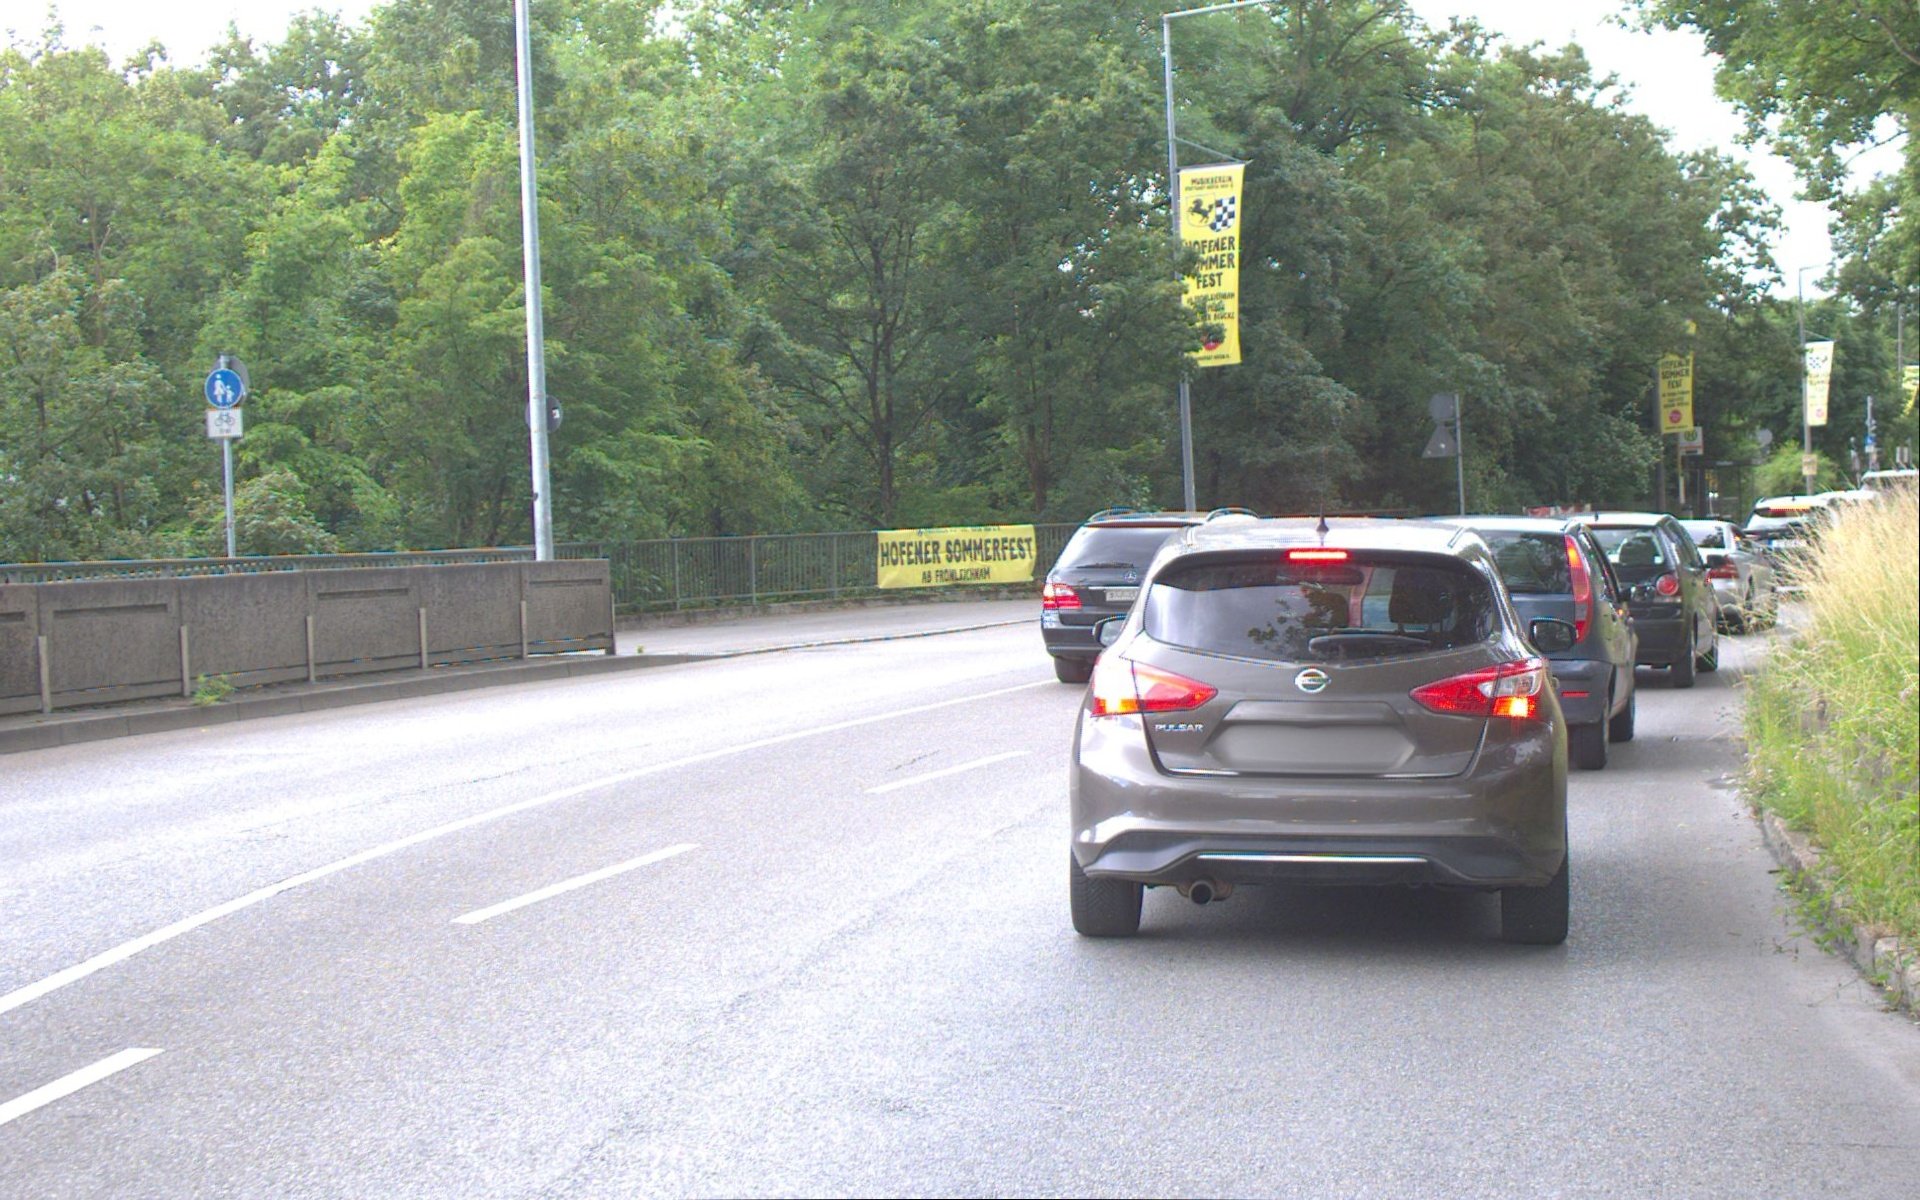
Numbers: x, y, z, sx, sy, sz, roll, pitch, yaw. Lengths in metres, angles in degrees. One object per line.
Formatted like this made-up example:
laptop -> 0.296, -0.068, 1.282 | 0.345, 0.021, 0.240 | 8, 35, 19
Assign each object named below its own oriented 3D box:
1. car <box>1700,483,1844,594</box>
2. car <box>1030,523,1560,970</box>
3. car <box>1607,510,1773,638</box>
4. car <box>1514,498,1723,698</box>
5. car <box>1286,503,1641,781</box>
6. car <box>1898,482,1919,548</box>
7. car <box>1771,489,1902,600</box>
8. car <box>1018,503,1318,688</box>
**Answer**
car -> 11.770, -0.886, 49.677 | 1.806, 1.535, 3.997 | 0, 1, 16
car -> 1.416, 0.466, 13.550 | 1.775, 1.489, 3.999 | 0, 1, 9
car -> 8.472, -0.322, 39.717 | 1.501, 1.359, 3.584 | -2, 1, 17
car -> 5.601, -0.044, 29.169 | 1.578, 1.533, 3.998 | -2, 0, 11
car -> 3.245, 0.227, 21.562 | 1.894, 1.568, 3.998 | -1, 0, 13
car -> 22.171, -1.935, 76.953 | 1.893, 1.440, 3.803 | -1, 1, 20
car -> 14.355, -0.869, 56.200 | 1.720, 1.687, 3.996 | -2, -1, 19
car -> 1.918, -0.090, 30.278 | 1.852, 1.481, 4.418 | -1, 1, 14
